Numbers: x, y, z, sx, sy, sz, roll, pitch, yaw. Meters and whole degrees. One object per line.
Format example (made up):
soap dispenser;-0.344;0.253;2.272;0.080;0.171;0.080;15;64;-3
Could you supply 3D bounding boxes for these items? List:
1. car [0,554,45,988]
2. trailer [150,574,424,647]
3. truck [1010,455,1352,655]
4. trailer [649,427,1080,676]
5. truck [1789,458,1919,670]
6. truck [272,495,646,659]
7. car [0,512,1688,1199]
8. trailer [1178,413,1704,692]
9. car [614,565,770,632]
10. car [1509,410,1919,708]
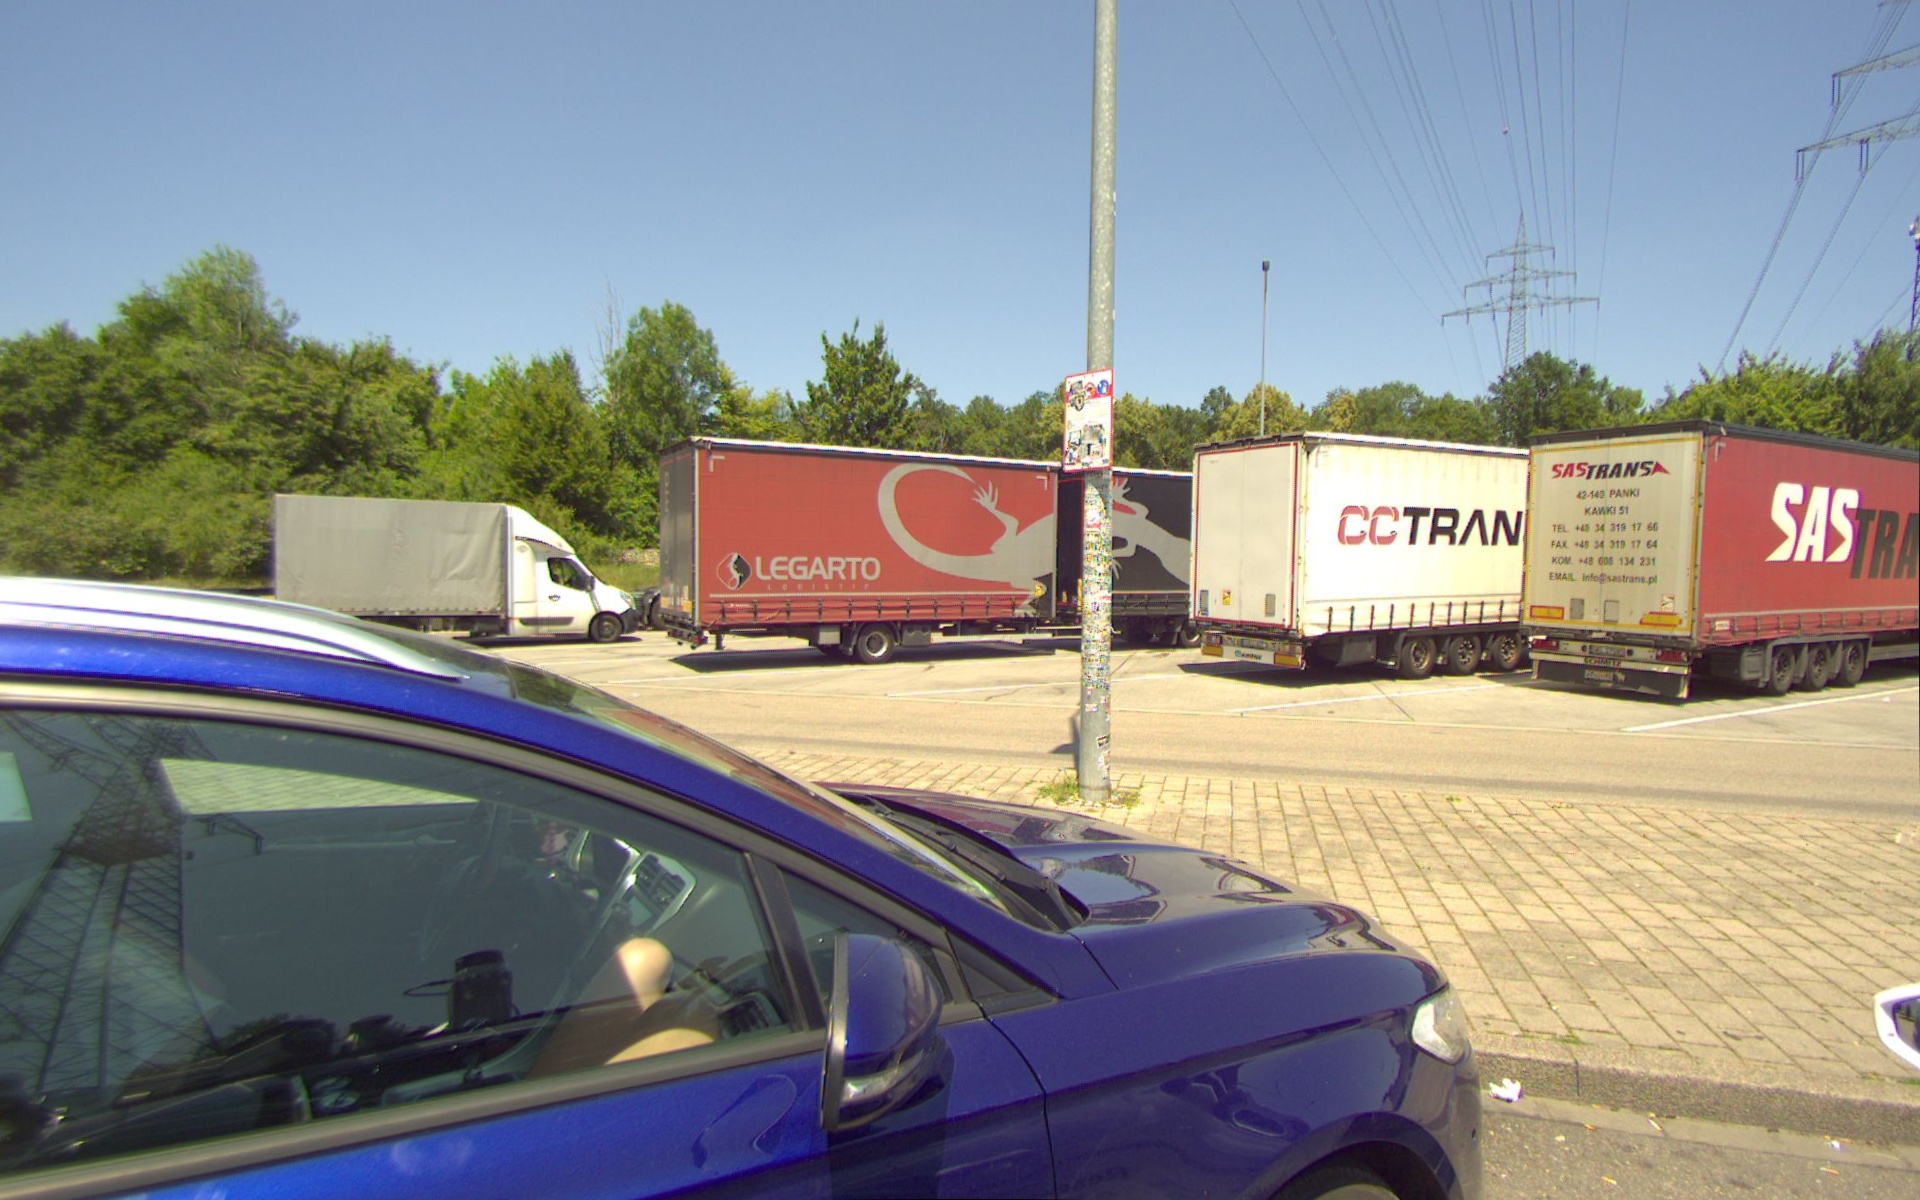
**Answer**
car;-4.604;0.556;2.111;3.700;1.432;1.595;0;0;-32
trailer;-15.940;0.245;24.176;5.332;1.617;1.585;0;0;-30
truck;5.612;-1.074;24.823;8.683;4.248;2.800;-1;2;-30
trailer;-1.734;-0.926;20.500;8.389;4.248;2.800;-1;2;-30
truck;21.151;-0.770;21.858;6.163;4.169;2.683;-1;3;-30
truck;-11.105;-0.582;22.870;7.219;3.277;2.308;-2;3;-29
car;-0.978;0.670;1.460;4.380;1.464;1.771;0;0;-32
trailer;10.121;-0.879;20.061;12.786;4.325;2.800;-1;2;-31
car;-7.595;-0.043;28.512;3.953;1.773;1.902;0;0;-30
car;15.226;-0.690;18.448;12.777;4.169;2.683;-1;3;-30
